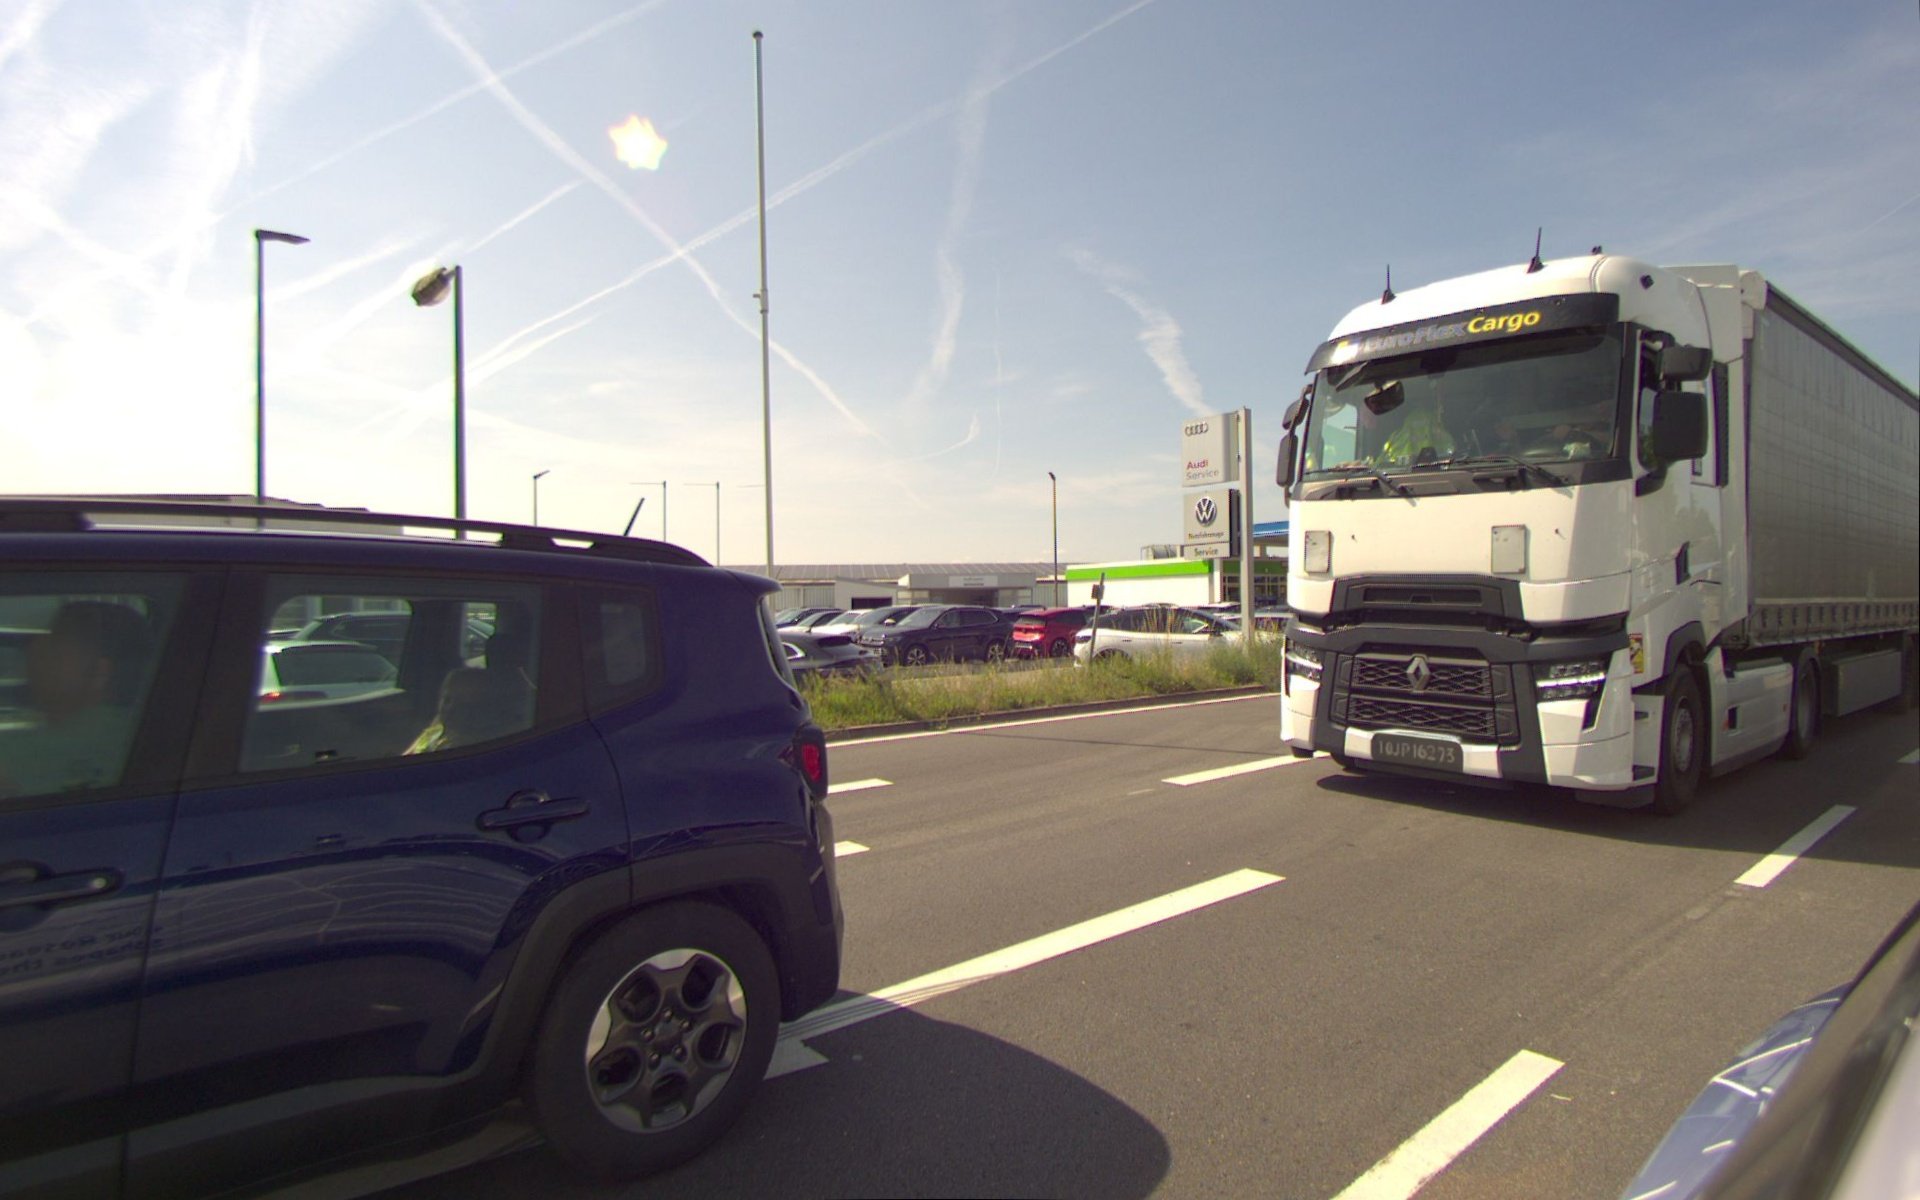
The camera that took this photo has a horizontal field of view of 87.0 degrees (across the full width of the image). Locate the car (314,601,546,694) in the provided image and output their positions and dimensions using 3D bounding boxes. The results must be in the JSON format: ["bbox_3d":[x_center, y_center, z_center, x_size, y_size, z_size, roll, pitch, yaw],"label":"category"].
[{"bbox_3d":[-11.365,0.937,21.802,4.155,1.812,1.982,0,-1,-38],"label":"car"}]

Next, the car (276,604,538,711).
[{"bbox_3d":[-10.523,0.995,19.363,4.155,1.812,1.982,0,-1,-38],"label":"car"}]

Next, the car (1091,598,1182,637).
[{"bbox_3d":[7.654,0.707,43.708,3.930,1.594,1.787,0,0,-41],"label":"car"}]

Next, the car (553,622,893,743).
[{"bbox_3d":[-3.214,1.041,13.833,4.290,1.420,1.728,0,0,18],"label":"car"}]

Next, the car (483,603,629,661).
[{"bbox_3d":[-12.899,0.994,32.552,4.143,1.777,1.911,0,-1,-14],"label":"car"}]

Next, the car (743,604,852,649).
[{"bbox_3d":[-5.747,0.894,35.943,3.530,1.426,1.562,-1,2,-38],"label":"car"}]

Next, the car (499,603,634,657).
[{"bbox_3d":[-13.423,0.990,34.763,4.143,1.777,1.911,0,-1,-14],"label":"car"}]

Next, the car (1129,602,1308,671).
[{"bbox_3d":[5.743,0.766,22.450,3.624,1.420,1.724,0,0,24],"label":"car"}]

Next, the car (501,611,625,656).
[{"bbox_3d":[-14.490,1.190,37.145,4.143,1.526,1.987,0,-1,-19],"label":"car"}]

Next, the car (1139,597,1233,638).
[{"bbox_3d":[9.311,0.682,41.580,3.930,1.594,1.787,0,0,-41],"label":"car"}]

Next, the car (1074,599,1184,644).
[{"bbox_3d":[6.362,0.774,38.470,1.757,1.594,3.997,0,0,-38],"label":"car"}]

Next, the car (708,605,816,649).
[{"bbox_3d":[-7.858,1.050,40.383,3.895,1.638,1.709,0,0,-37],"label":"car"}]

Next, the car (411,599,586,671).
[{"bbox_3d":[-12.342,0.890,27.380,4.143,1.812,1.987,0,-1,-19],"label":"car"}]

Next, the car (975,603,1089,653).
[{"bbox_3d":[2.340,0.851,32.517,3.530,1.426,1.562,-1,2,-38],"label":"car"}]

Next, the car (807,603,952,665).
[{"bbox_3d":[-2.285,0.912,29.070,3.756,1.638,1.857,0,0,-37],"label":"car"}]

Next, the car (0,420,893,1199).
[{"bbox_3d":[-2.273,0.533,2.368,3.930,1.706,1.822,0,1,-41],"label":"car"}]

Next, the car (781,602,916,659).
[{"bbox_3d":[-3.462,0.904,31.630,3.895,1.638,1.709,0,0,-37],"label":"car"}]

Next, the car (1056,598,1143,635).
[{"bbox_3d":[6.361,0.719,45.889,3.930,1.594,1.787,0,0,-41],"label":"car"}]

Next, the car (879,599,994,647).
[{"bbox_3d":[-0.824,0.799,36.727,3.894,1.638,1.709,0,0,-35],"label":"car"}]

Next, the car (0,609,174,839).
[{"bbox_3d":[-8.346,0.857,7.788,3.984,1.555,1.728,0,0,18],"label":"car"}]

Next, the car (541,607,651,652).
[{"bbox_3d":[-15.047,1.191,42.086,4.143,1.777,1.911,0,-1,-14],"label":"car"}]

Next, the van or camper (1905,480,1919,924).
[{"bbox_3d":[7.017,0.467,5.513,5.194,2.039,1.998,0,0,-39],"label":"van or camper"}]

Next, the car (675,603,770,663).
[{"bbox_3d":[-7.106,0.907,29.974,1.959,1.638,4.006,0,0,-25],"label":"car"}]

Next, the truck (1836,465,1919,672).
[{"bbox_3d":[22.299,-0.619,21.966,10.937,3.859,2.887,0,0,-38],"label":"truck"}]

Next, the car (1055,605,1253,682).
[{"bbox_3d":[3.896,0.814,20.314,3.624,1.420,1.724,0,0,24],"label":"car"}]

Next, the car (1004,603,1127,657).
[{"bbox_3d":[3.166,0.852,30.101,3.530,1.426,1.562,-1,2,-38],"label":"car"}]

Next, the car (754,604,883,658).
[{"bbox_3d":[-4.630,0.972,33.389,3.895,1.638,1.709,0,0,-37],"label":"car"}]

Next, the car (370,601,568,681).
[{"bbox_3d":[-11.819,0.945,24.688,4.143,1.812,1.987,0,-1,-19],"label":"car"}]

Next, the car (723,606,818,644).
[{"bbox_3d":[-8.533,1.093,45.763,3.895,1.638,1.709,0,0,-37],"label":"car"}]

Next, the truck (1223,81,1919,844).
[{"bbox_3d":[9.364,-0.845,12.024,16.407,4.320,2.897,0,0,-39],"label":"truck"}]

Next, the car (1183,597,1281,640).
[{"bbox_3d":[10.641,0.678,39.484,3.930,1.594,1.787,0,0,-41],"label":"car"}]

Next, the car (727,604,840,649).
[{"bbox_3d":[-6.717,0.974,38.678,3.895,1.638,1.709,0,0,-37],"label":"car"}]

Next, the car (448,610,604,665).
[{"bbox_3d":[-12.805,1.067,30.144,4.143,1.526,1.987,0,-1,-19],"label":"car"}]

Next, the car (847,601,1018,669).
[{"bbox_3d":[-0.701,0.875,27.155,4.201,1.678,1.999,0,0,-37],"label":"car"}]
